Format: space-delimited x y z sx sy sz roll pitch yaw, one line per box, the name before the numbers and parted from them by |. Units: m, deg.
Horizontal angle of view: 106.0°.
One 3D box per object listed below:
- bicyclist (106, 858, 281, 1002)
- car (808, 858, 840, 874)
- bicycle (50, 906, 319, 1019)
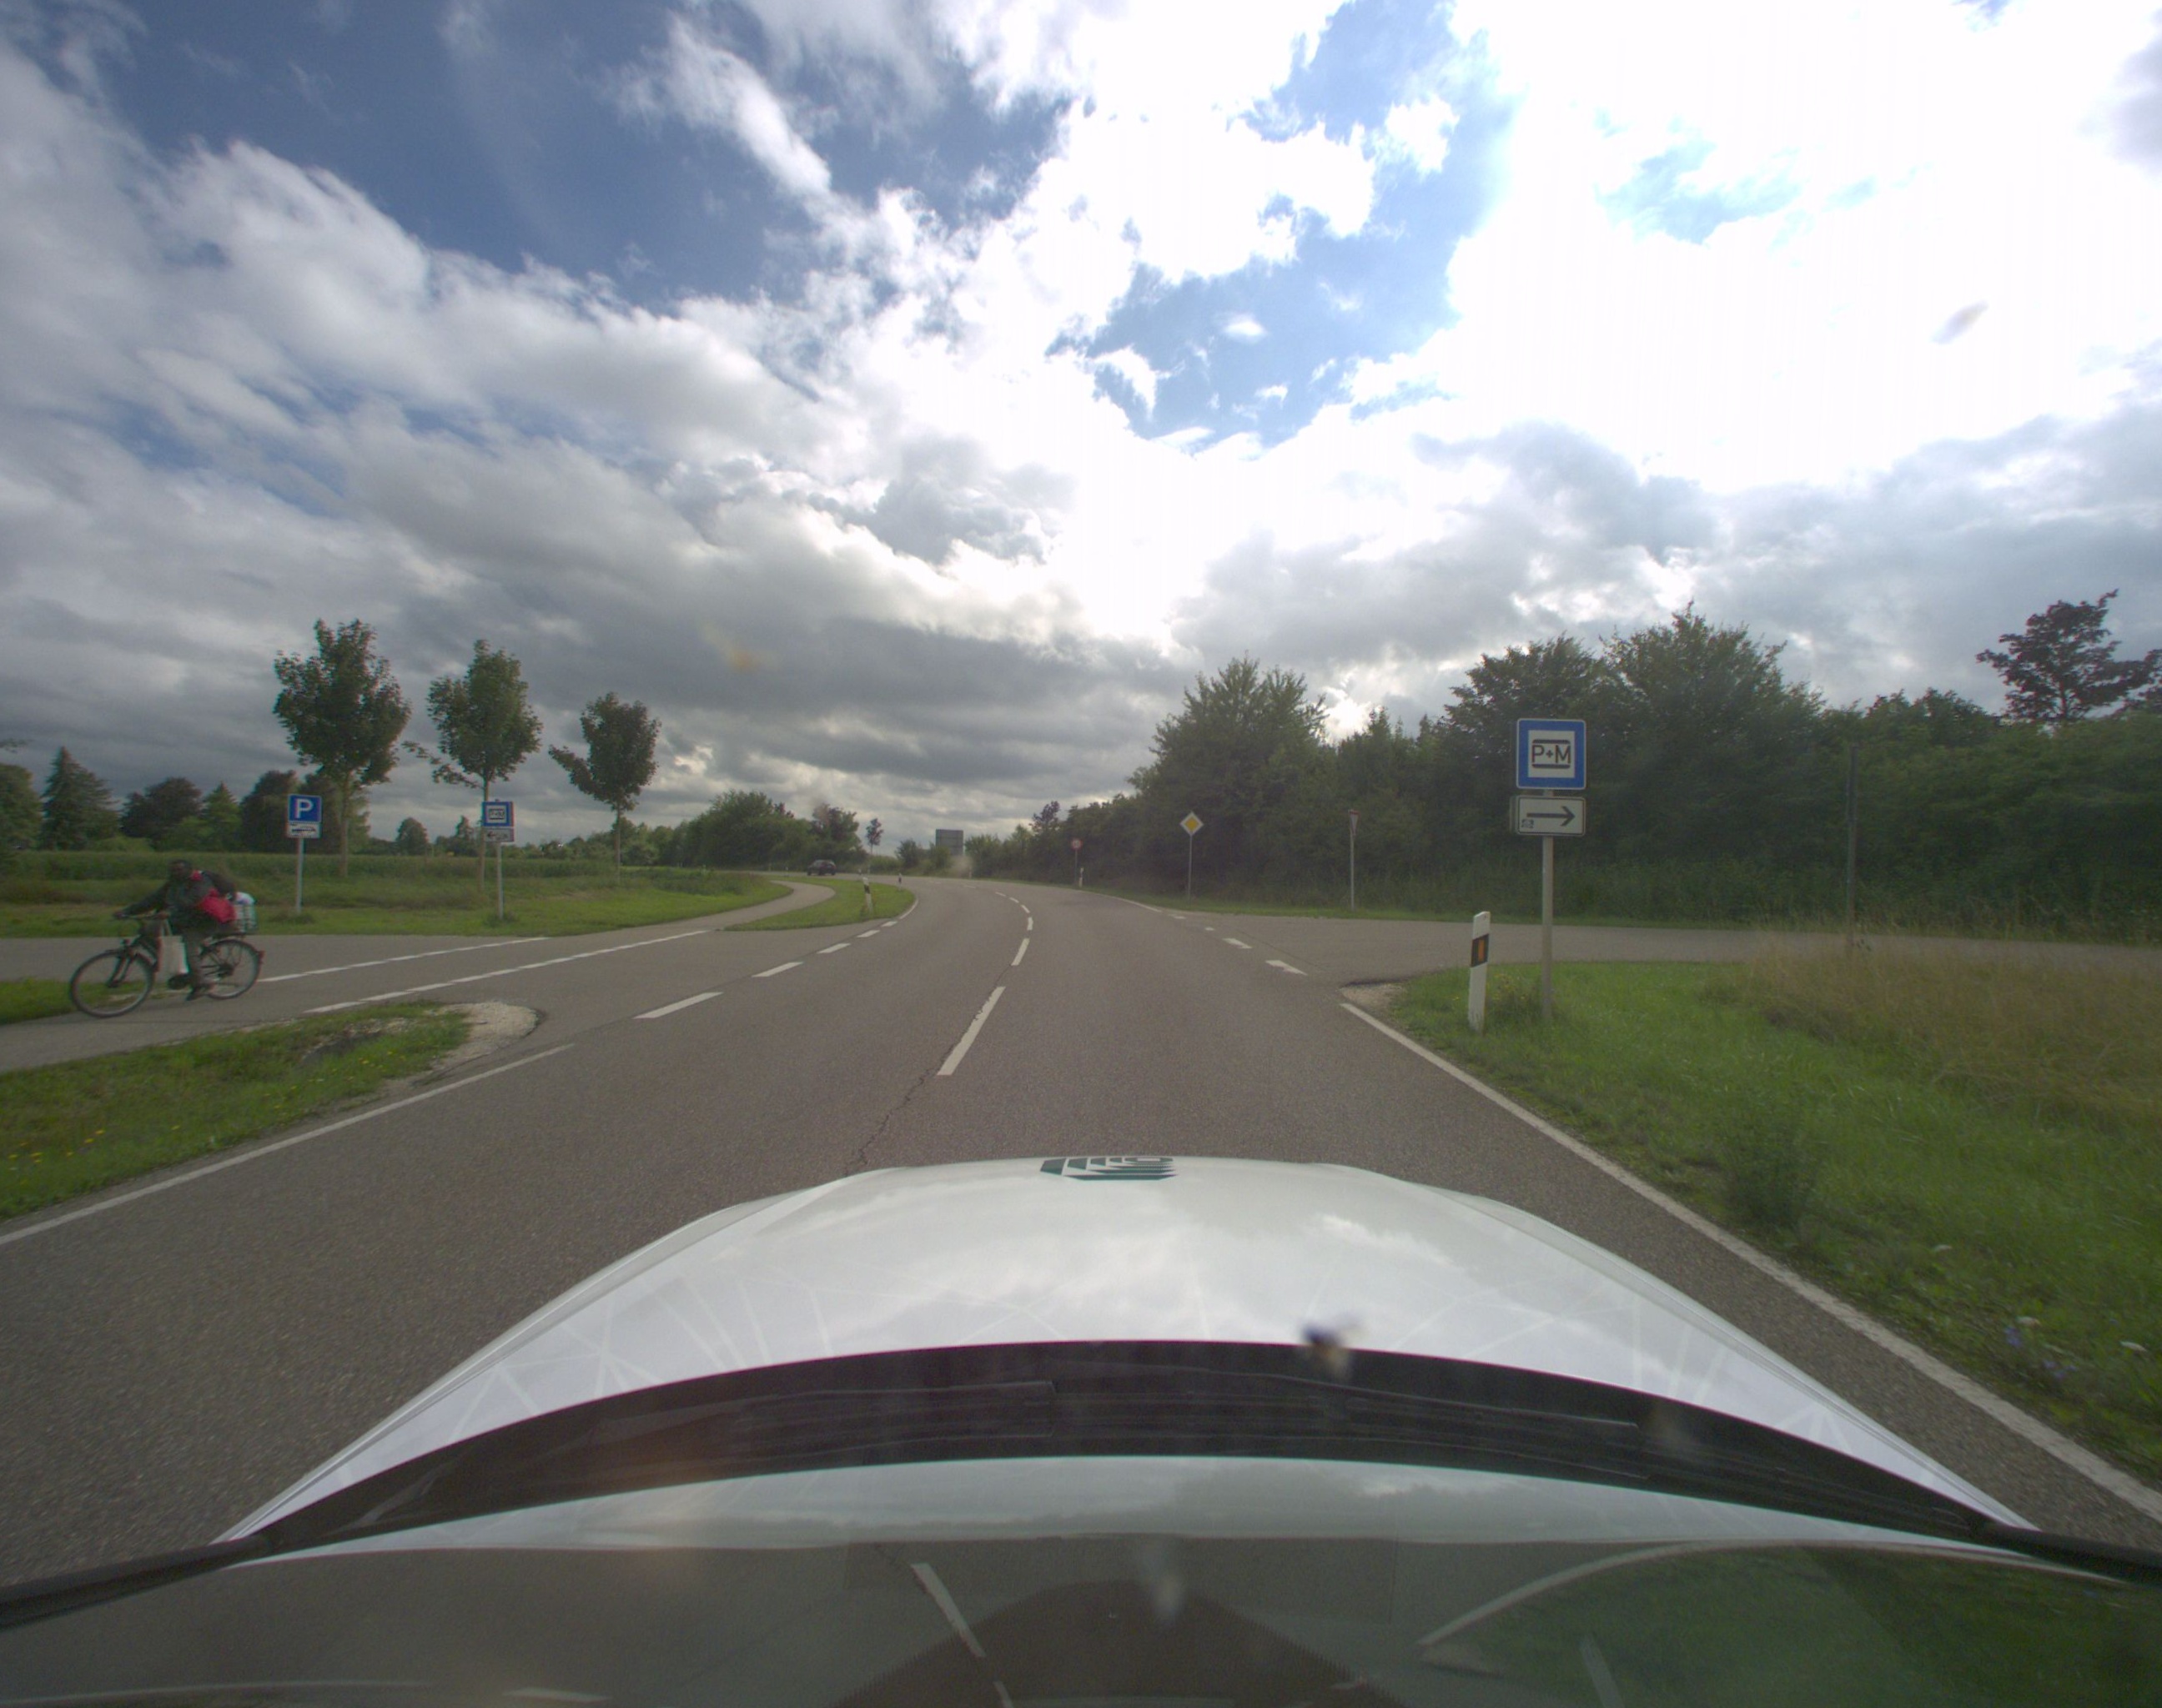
bicyclist | -10.247 0.836 9.457 0.827 1.566 1.056 0 -1 3
car | -28.008 1.262 88.582 1.922 1.666 3.953 1 -1 -40
bicycle | -10.233 1.182 9.461 0.633 1.032 2.191 0 0 2
